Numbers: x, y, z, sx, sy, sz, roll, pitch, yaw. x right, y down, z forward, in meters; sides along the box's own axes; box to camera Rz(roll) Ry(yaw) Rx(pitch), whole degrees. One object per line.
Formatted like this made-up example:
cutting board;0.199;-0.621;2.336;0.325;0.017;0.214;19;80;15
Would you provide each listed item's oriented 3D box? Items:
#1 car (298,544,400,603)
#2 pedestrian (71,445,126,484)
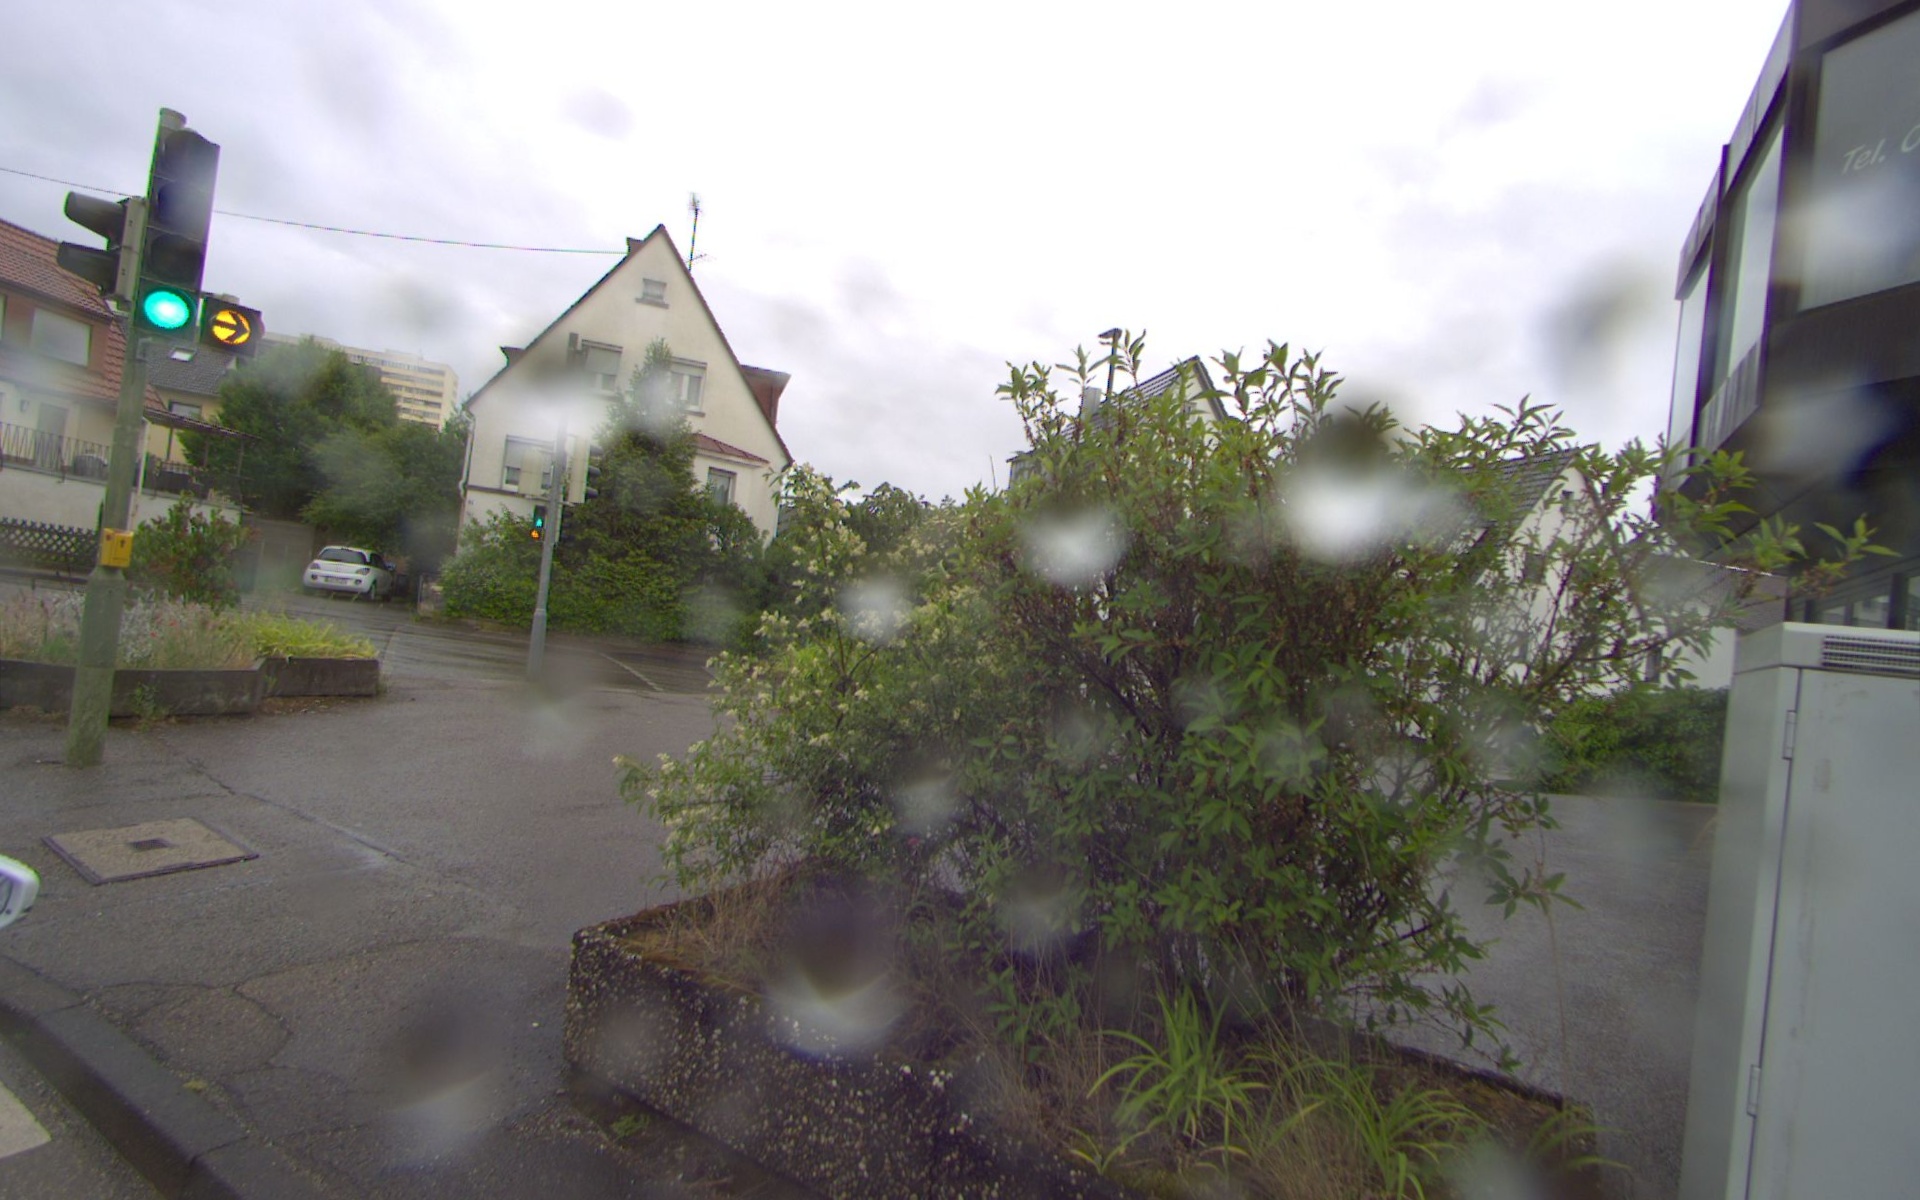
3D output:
car;-17.762;-0.747;29.423;1.794;1.378;3.981;8;-2;-22
pedestrian;-24.278;-3.804;28.373;0.623;0.893;0.920;5;-2;13
